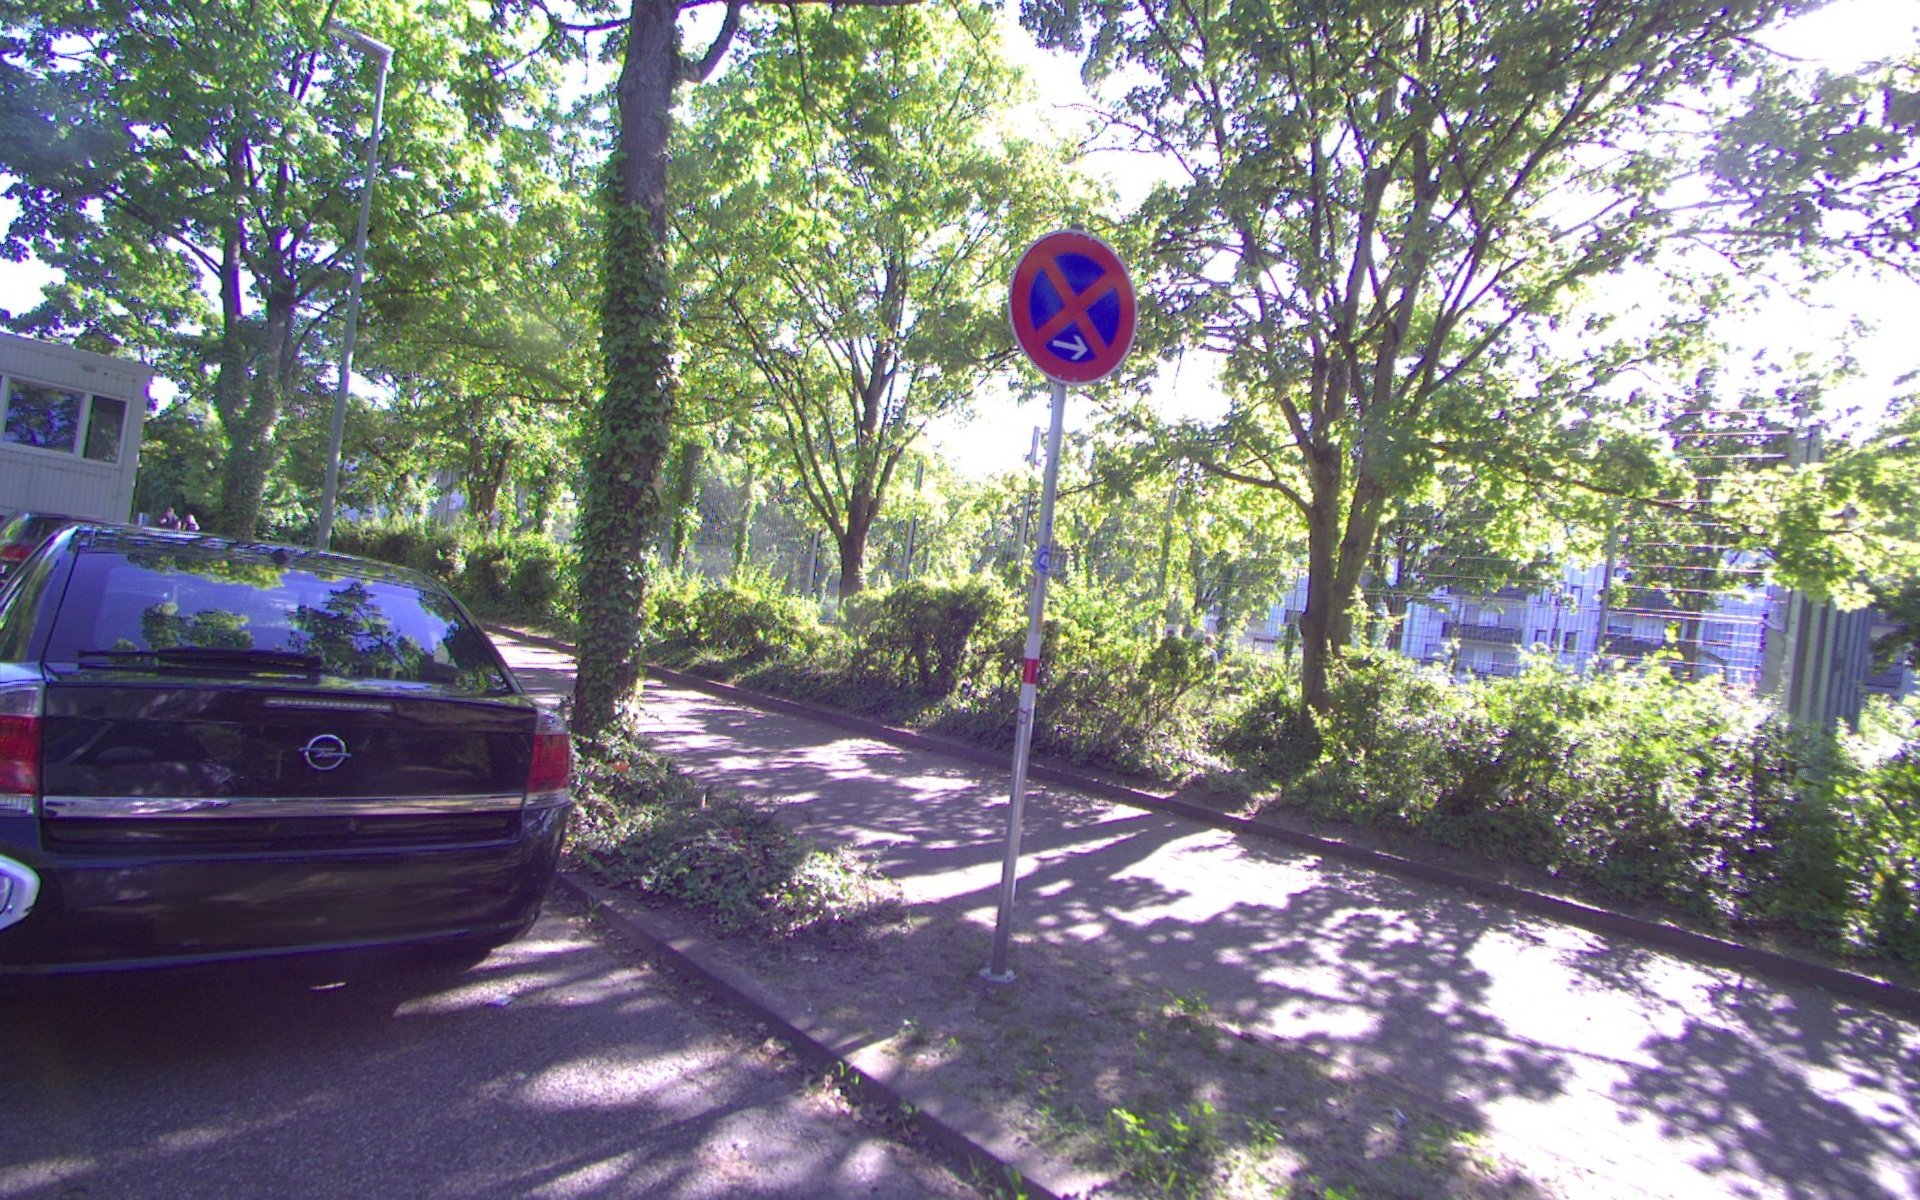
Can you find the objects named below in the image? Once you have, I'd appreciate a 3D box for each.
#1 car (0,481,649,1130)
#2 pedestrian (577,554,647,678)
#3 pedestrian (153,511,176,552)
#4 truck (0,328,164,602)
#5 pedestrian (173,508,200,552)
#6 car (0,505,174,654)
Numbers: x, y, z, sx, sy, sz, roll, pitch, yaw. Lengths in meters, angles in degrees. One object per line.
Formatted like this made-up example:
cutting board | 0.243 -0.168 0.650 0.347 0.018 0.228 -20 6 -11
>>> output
car | -3.105 0.431 4.197 1.744 1.497 3.981 9 -2 -43
pedestrian | -4.880 0.220 14.101 0.568 1.627 0.664 7 0 -36
pedestrian | -34.184 -2.945 43.230 0.592 1.631 0.597 7 2 42
truck | -18.342 -2.564 19.620 10.212 4.042 2.769 7 -2 44
pedestrian | -33.594 -3.042 43.700 0.690 1.835 0.696 7 2 42
car | -11.265 -0.334 12.614 3.948 1.436 1.637 7 -2 45
